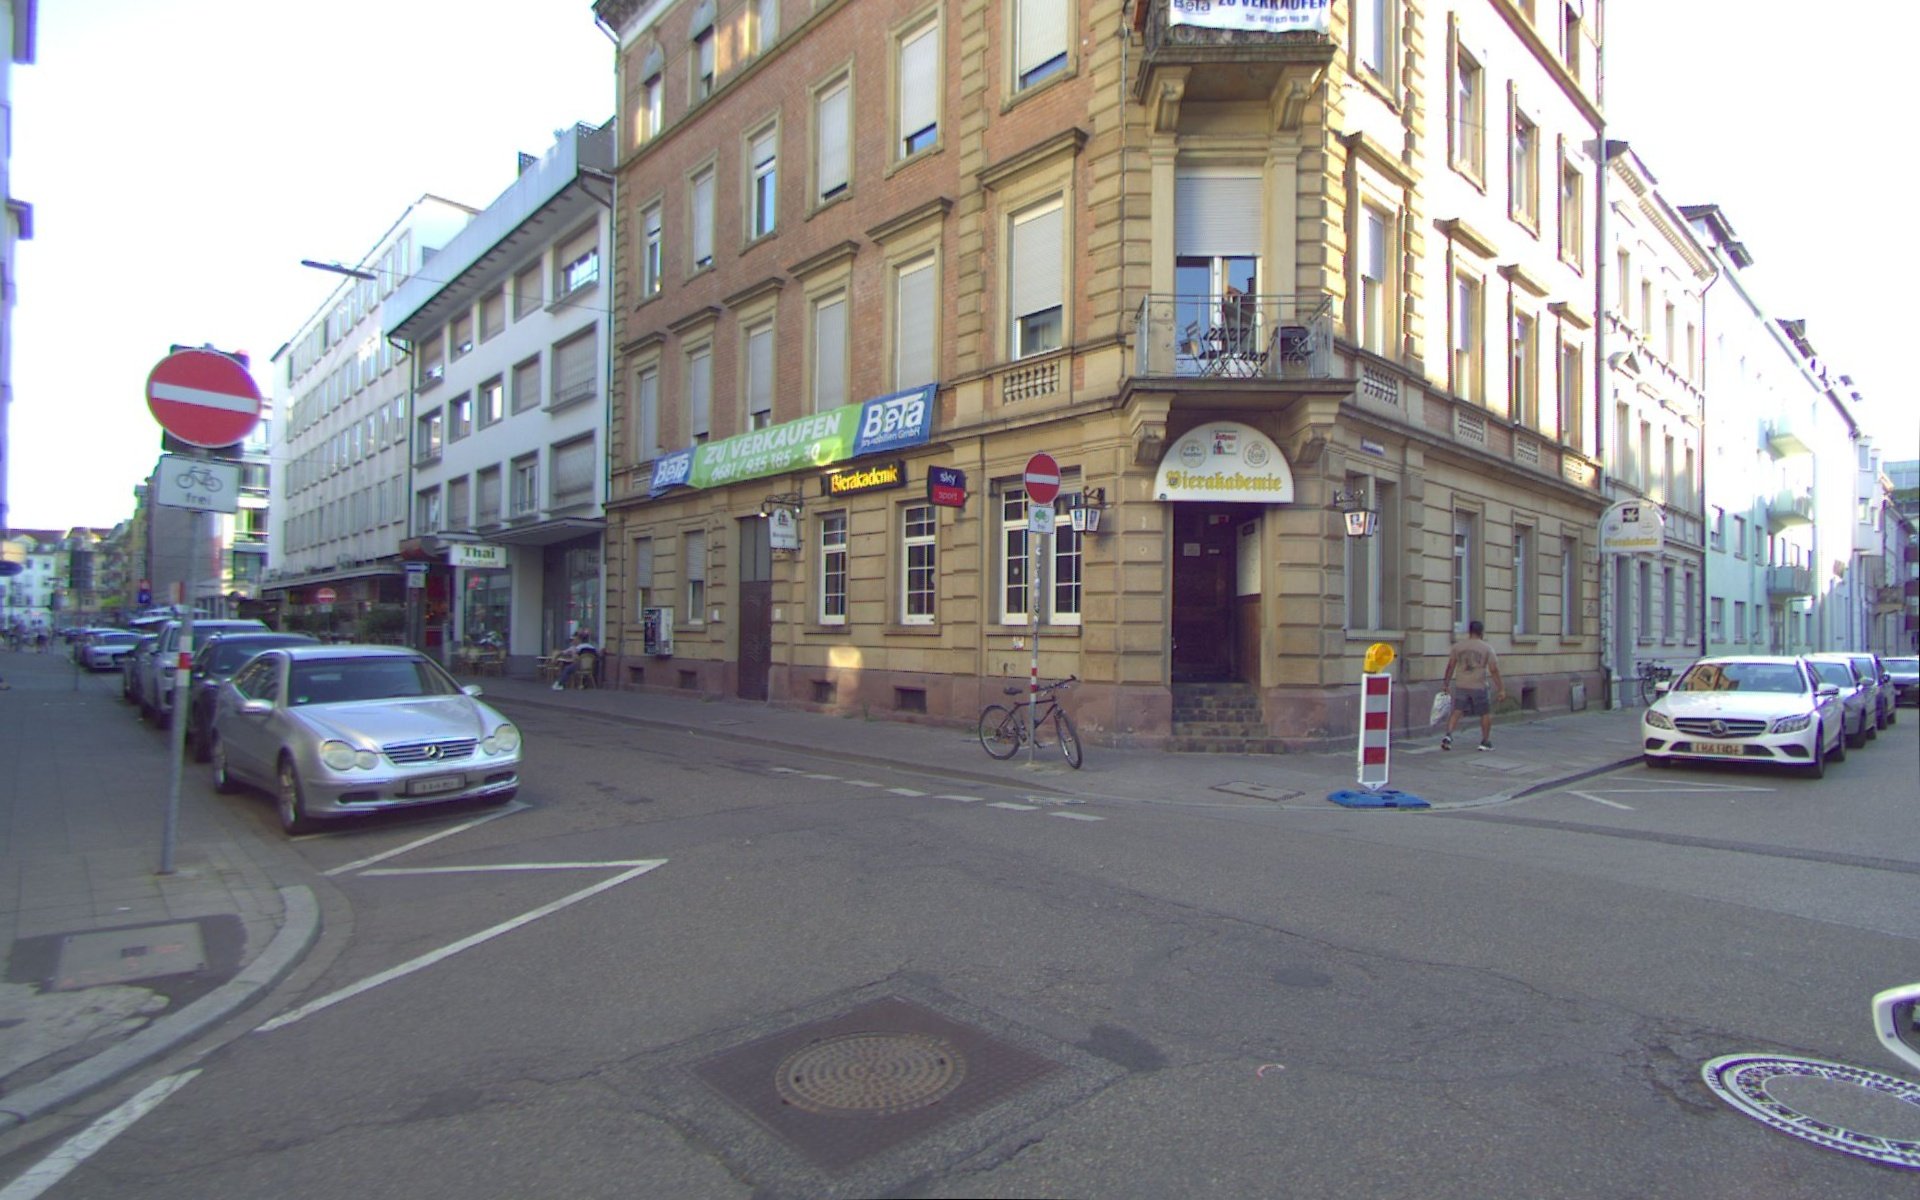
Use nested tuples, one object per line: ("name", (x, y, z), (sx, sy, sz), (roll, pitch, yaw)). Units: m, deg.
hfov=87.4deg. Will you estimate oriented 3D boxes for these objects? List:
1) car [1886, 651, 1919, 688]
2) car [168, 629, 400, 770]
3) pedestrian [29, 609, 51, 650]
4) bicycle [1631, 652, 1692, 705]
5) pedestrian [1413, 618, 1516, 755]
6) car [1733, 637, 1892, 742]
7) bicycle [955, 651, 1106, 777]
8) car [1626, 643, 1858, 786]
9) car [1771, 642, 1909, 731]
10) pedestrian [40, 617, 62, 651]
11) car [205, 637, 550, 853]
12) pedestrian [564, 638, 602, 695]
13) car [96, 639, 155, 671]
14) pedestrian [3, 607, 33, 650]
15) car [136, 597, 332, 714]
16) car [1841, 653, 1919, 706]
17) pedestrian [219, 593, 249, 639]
("car", (39.787, 2.863, 41.489), (2.151, 1.436, 3.975), (-1, -2, 45))
("car", (-9.125, 1.183, 13.421), (2.000, 1.544, 4.067), (2, -2, -42))
("pedestrian", (-48.657, 1.562, 53.134), (0.793, 2.118, 0.723), (-1, -2, 40))
("bicycle", (16.623, 1.831, 23.777), (2.444, 1.176, 0.730), (2, -2, -44))
("pedestrian", (6.906, 1.141, 13.747), (1.009, 1.765, 0.972), (2, -2, -43))
("car", (14.771, 1.458, 17.338), (3.726, 1.597, 1.610), (2, -2, -42))
("bicycle", (0.802, 1.288, 11.788), (1.739, 1.292, 0.656), (-1, 1, 44))
("car", (10.770, 1.397, 13.706), (1.973, 1.585, 4.477), (-1, -3, 45))
("car", (18.781, 1.762, 21.391), (3.788, 1.680, 1.769), (2, -2, -42))
("pedestrian", (-47.419, 1.771, 52.412), (0.872, 1.784, 0.708), (-1, -2, 41))
("car", (-5.529, 1.098, 9.248), (1.745, 1.420, 4.430), (0, -1, -44))
("pedestrian", (-9.270, 1.619, 24.704), (0.826, 1.357, 0.801), (2, -1, -22))
("car", (-30.562, 1.993, 36.758), (1.504, 1.073, 3.424), (2, -2, -42))
("pedestrian", (-48.669, 1.484, 51.897), (0.872, 2.203, 1.027), (-1, -2, 40))
("car", (-12.874, 0.915, 17.688), (2.320, 1.767, 4.432), (2, -2, -42))
("car", (27.206, 2.254, 29.241), (4.399, 1.372, 1.974), (2, -2, -44))
("pedestrian", (-42.672, 0.927, 59.044), (1.239, 2.648, 1.448), (2, -2, -43))
